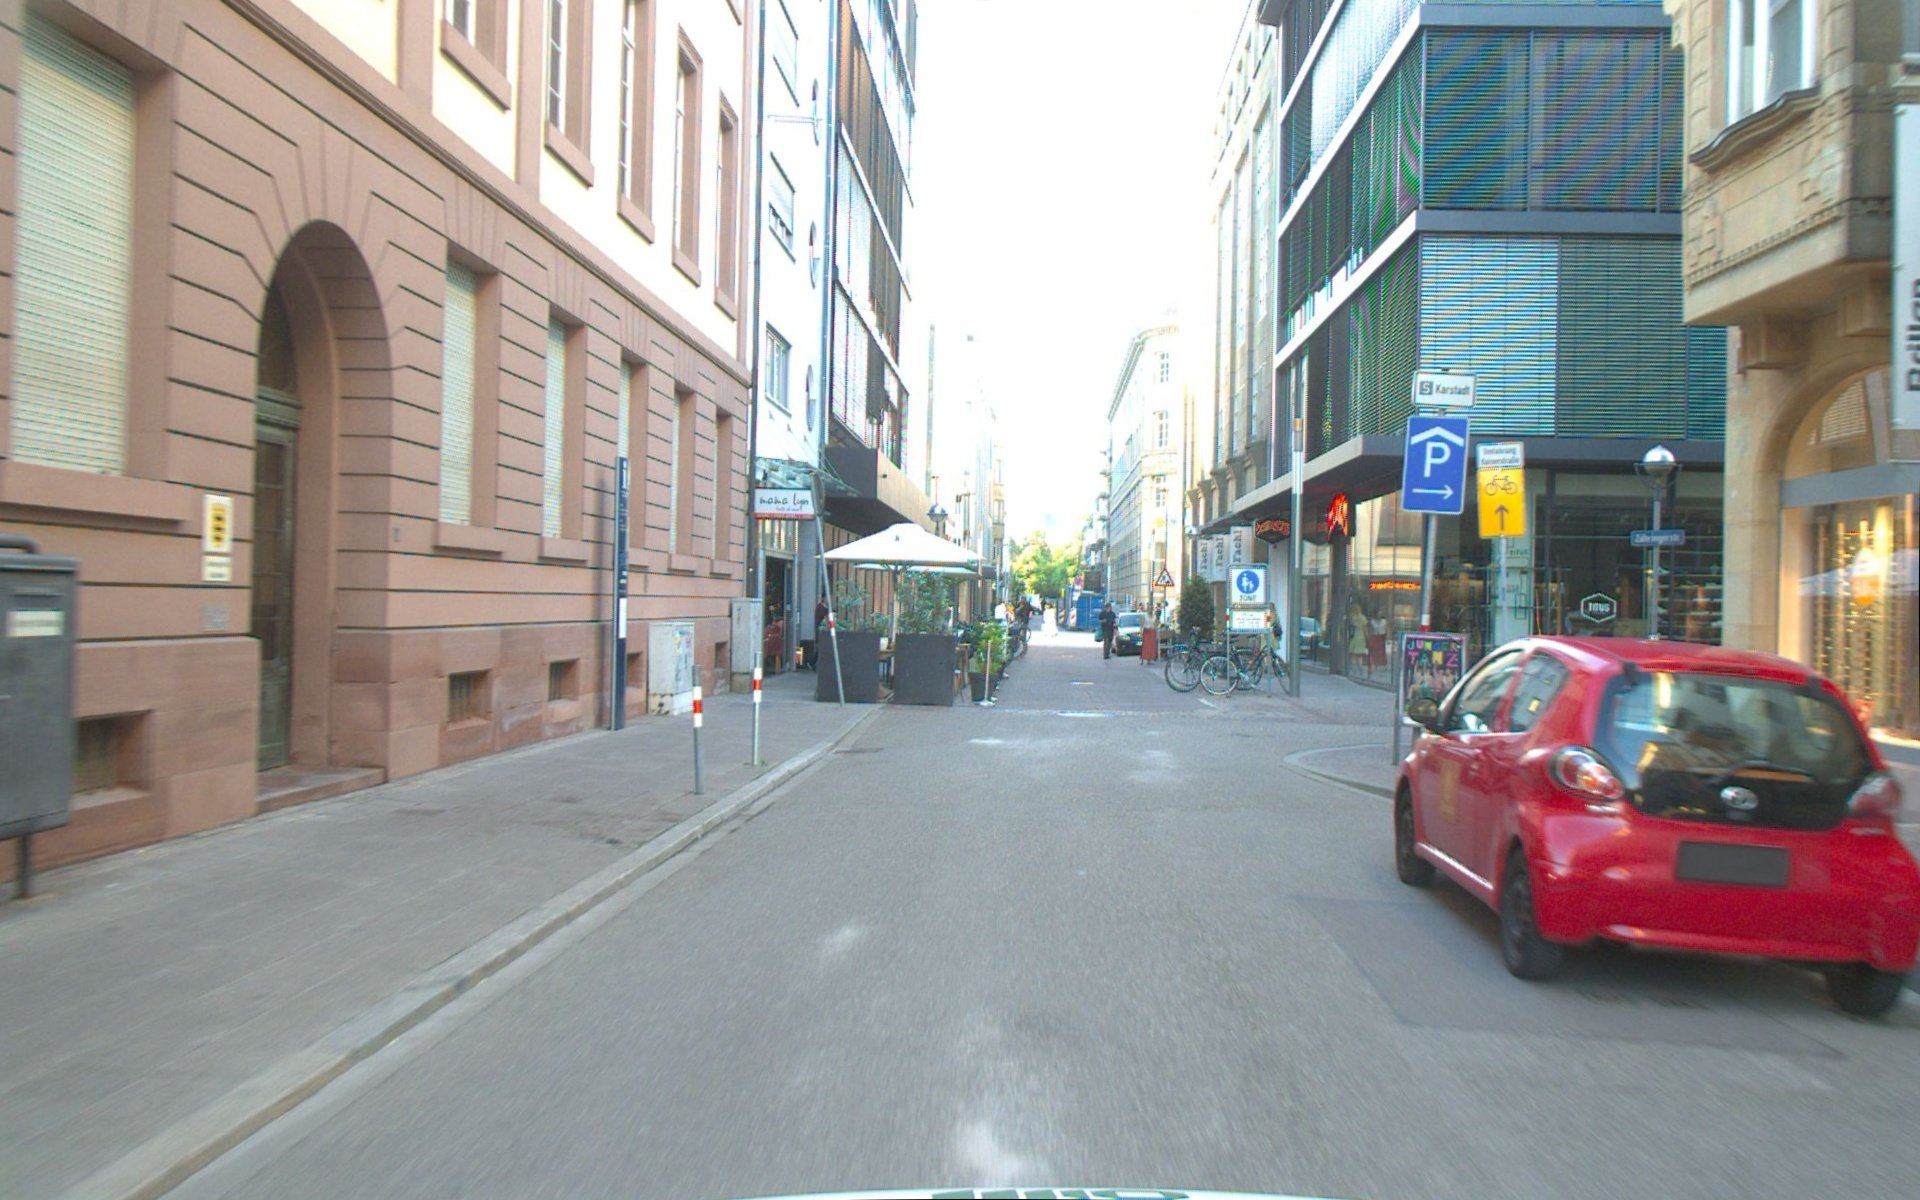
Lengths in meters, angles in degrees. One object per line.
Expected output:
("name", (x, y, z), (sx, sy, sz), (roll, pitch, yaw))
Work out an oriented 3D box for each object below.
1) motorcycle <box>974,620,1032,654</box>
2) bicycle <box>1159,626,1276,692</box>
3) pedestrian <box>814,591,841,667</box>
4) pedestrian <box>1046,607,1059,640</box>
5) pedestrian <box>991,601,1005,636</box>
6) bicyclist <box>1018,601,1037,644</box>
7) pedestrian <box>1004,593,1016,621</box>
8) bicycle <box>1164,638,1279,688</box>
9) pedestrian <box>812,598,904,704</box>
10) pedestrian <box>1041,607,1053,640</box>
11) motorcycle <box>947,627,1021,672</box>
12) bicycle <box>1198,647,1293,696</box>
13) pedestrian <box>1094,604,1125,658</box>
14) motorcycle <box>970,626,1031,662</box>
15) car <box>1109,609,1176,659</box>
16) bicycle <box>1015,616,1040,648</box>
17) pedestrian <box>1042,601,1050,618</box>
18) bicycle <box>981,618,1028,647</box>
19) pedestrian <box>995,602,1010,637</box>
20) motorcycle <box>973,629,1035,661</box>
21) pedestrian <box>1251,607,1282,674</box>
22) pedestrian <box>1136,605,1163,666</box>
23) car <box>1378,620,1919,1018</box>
("motorcycle", (1.317, 1.148, 50.922), (1.765, 1.007, 0.560), (1, -1, -2))
("bicycle", (4.670, 1.066, 30.034), (2.010, 1.154, 0.649), (1, -1, -1))
("pedestrian", (-2.705, 0.589, 33.779), (0.481, 1.514, 0.566), (1, -1, 1))
("pedestrian", (4.589, 1.178, 82.298), (0.591, 1.651, 0.530), (1, -1, 5))
("pedestrian", (1.789, 0.884, 78.240), (0.592, 1.651, 0.528), (1, -1, -8))
("bicyclist", (2.660, 0.881, 65.376), (0.624, 1.669, 0.771), (1, -1, -6))
("pedestrian", (3.006, 0.444, 99.091), (0.664, 1.651, 0.626), (1, -1, 5))
("bicycle", (5.165, 1.238, 32.764), (2.155, 0.921, 0.649), (1, -1, -1))
("pedestrian", (-1.485, 0.737, 24.251), (1.264, 1.514, 0.661), (1, -1, 1))
("pedestrian", (4.359, 1.160, 82.918), (0.591, 1.651, 0.626), (1, -1, 5))
("motorcycle", (0.567, 1.192, 40.087), (1.765, 1.059, 0.493), (1, -1, -2))
("bicycle", (4.914, 1.227, 28.476), (1.533, 0.782, 0.557), (1, -1, -1))
("pedestrian", (4.853, 0.996, 53.778), (0.849, 1.743, 0.851), (1, -1, -6))
("motorcycle", (1.201, 1.305, 49.280), (1.765, 1.007, 0.560), (1, -1, -2))
("car", (6.265, 1.151, 57.125), (1.952, 1.639, 4.000), (1, 0, 1))
("bicycle", (2.667, 1.250, 65.270), (0.624, 1.177, 2.498), (1, 0, -6))
("pedestrian", (8.650, 0.978, 166.212), (0.787, 1.702, 0.889), (1, 0, 5))
("bicycle", (1.465, 1.079, 54.787), (1.499, 0.912, 0.482), (1, -1, -25))
("pedestrian", (2.003, 0.905, 77.585), (0.592, 1.651, 0.528), (1, -1, -8))
("motorcycle", (1.276, 1.320, 48.250), (1.765, 0.891, 0.560), (1, -1, -2))
("pedestrian", (6.985, 0.921, 37.720), (0.642, 1.514, 0.493), (1, -1, 7))
("pedestrian", (5.232, 0.973, 45.679), (0.621, 1.648, 0.466), (1, -1, -6))
("car", (3.298, 0.890, 8.309), (1.615, 1.452, 3.537), (4, 0, 3))
